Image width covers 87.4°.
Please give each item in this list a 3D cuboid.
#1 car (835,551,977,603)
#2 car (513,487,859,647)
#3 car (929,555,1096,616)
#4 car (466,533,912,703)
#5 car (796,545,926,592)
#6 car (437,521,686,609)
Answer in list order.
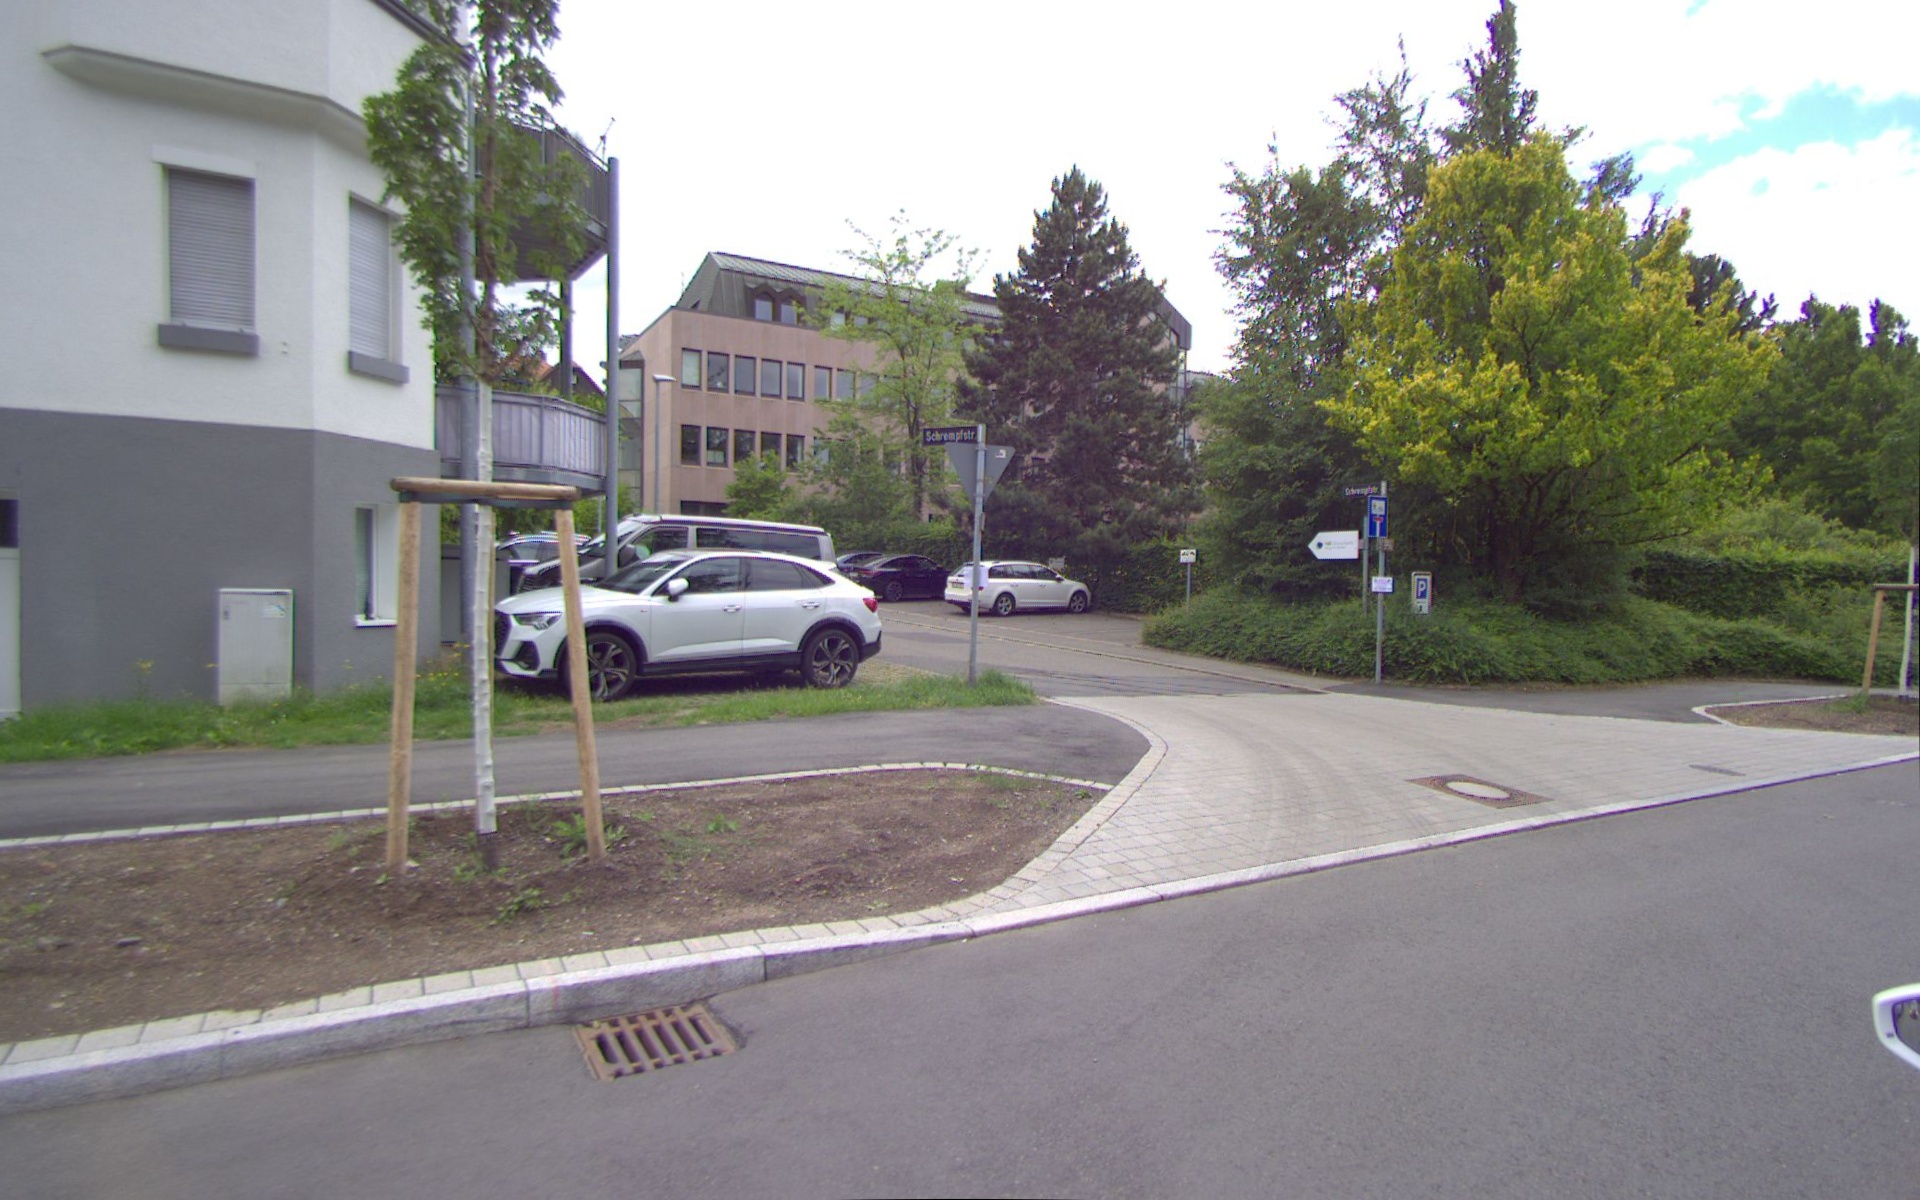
[{"bbox_3d":[-1.716,-0.779,32.269,4.163,1.554,1.916,-2,4,-34],"label":"car"},{"bbox_3d":[-4.126,-0.446,15.492,4.718,2.078,1.892,2,3,-36],"label":"car"},{"bbox_3d":[1.504,-0.448,28.217,4.368,1.554,1.981,-1,4,-34],"label":"car"},{"bbox_3d":[-3.001,0.152,11.527,4.552,1.553,1.892,1,4,-36],"label":"car"},{"bbox_3d":[-3.447,-1.101,35.209,4.164,1.553,1.916,-1,4,-34],"label":"car"},{"bbox_3d":[-7.790,-0.642,19.809,4.279,1.518,1.669,1,1,-36],"label":"car"}]
